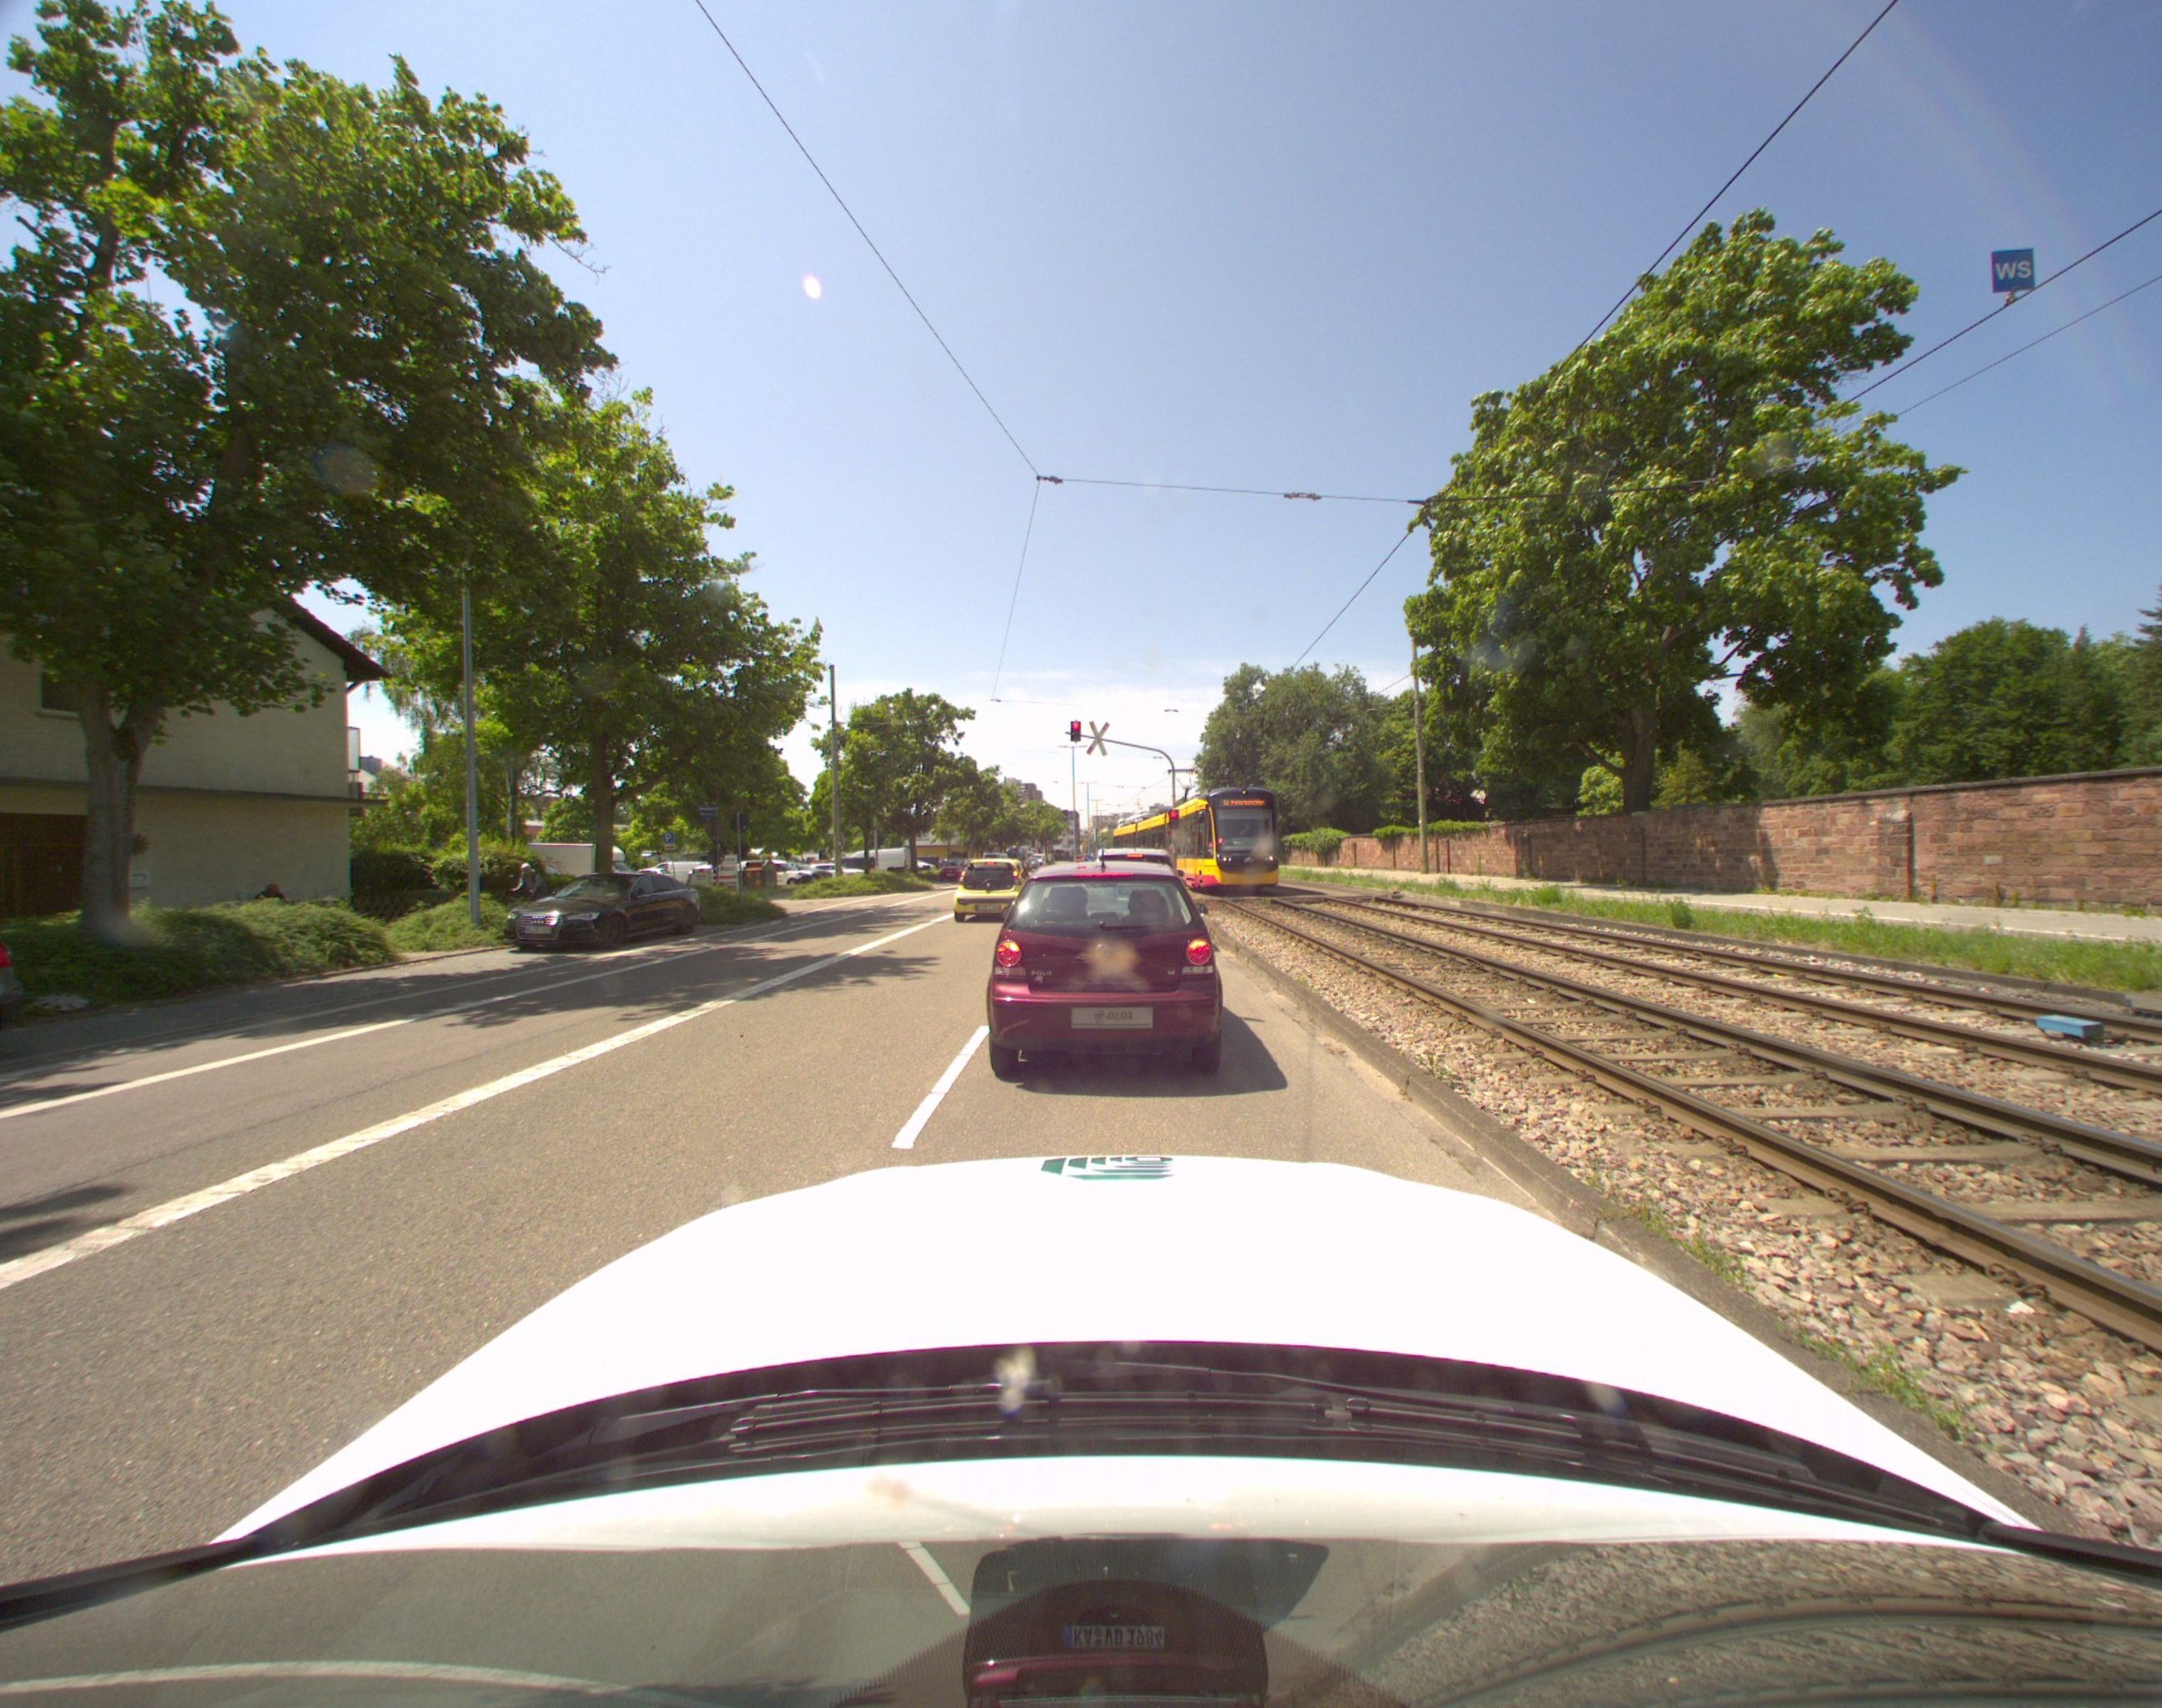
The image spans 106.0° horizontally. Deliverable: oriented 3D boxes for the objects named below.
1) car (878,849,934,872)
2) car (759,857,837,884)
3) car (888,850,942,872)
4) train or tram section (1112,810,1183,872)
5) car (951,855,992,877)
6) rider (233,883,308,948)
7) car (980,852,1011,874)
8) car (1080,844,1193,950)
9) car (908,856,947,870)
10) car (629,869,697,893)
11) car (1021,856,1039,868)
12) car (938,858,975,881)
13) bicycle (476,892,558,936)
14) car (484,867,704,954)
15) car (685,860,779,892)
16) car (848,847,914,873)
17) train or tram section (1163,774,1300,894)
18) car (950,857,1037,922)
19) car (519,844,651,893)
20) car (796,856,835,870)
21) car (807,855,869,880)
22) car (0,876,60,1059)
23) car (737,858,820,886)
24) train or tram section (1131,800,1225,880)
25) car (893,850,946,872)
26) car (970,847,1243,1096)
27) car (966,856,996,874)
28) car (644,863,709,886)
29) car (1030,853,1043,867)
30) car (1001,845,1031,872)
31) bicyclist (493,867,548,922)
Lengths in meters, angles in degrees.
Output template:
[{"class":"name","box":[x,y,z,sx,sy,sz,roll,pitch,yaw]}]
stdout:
[{"class":"car","box":[-17.731,0.699,82.864,5.076,2.244,2.380,1,-1,3]},{"class":"car","box":[-18.413,1.091,53.055,4.319,1.585,1.917,-2,0,8]},{"class":"car","box":[-17.372,0.732,85.329,5.076,2.244,2.380,1,-1,3]},{"class":"train or tram section","box":[4.142,-0.808,53.175,2.737,3.609,10.929,1,0,-5]},{"class":"car","box":[-8.221,0.894,61.299,1.965,1.601,4.566,0,-1,6]},{"class":"rider","box":[-17.970,1.354,18.065,0.820,1.374,0.814,-2,0,10]},{"class":"car","box":[-7.449,0.784,71.528,1.774,1.881,4.791,0,-1,5]},{"class":"car","box":[0.906,0.663,14.738,1.770,1.647,4.001,0,0,1]},{"class":"car","box":[-17.402,1.018,92.334,4.004,1.617,1.818,1,-1,3]},{"class":"car","box":[-30.420,1.964,59.326,3.982,1.653,1.812,1,-1,-7]},{"class":"car","box":[-6.361,1.054,101.772,1.606,1.441,4.006,0,-1,5]},{"class":"car","box":[-8.329,1.022,54.746,1.655,1.497,4.004,1,-1,4]},{"class":"bicycle","box":[-14.537,1.522,21.066,0.697,1.030,1.831,0,-1,5]},{"class":"car","box":[-9.863,1.061,17.004,1.812,1.476,4.450,0,0,1]},{"class":"car","box":[-19.351,1.190,45.262,4.329,1.585,1.912,-2,0,-1]},{"class":"car","box":[-17.502,0.538,71.520,5.076,2.244,2.380,1,-1,3]},{"class":"train or tram section","box":[5.196,-0.628,31.033,2.733,3.609,12.865,1,0,-1]},{"class":"car","box":[-2.042,0.796,19.919,1.684,1.411,3.516,0,0,1]},{"class":"car","box":[-31.443,0.917,51.802,6.828,2.965,2.364,1,-1,0]},{"class":"car","box":[-31.574,1.033,96.919,4.006,1.617,1.816,1,-1,0]},{"class":"car","box":[-18.180,1.013,61.089,3.973,1.746,1.998,-2,0,0]},{"class":"car","box":[-10.269,0.991,5.333,1.812,1.564,4.182,0,0,1]},{"class":"car","box":[-18.623,1.101,50.279,4.319,1.585,1.917,-2,0,7]},{"class":"train or tram section","box":[4.781,-0.662,42.613,2.736,3.609,10.932,1,0,-5]},{"class":"car","box":[-17.427,0.762,87.991,5.076,2.244,2.380,1,-1,3]},{"class":"car","box":[0.199,0.712,6.981,1.666,1.521,4.001,0,0,1]},{"class":"car","box":[-8.090,0.874,66.089,1.606,1.441,4.006,0,-1,5]},{"class":"car","box":[-30.658,1.528,61.763,3.982,1.653,1.812,1,-1,-7]},{"class":"car","box":[-5.879,0.818,107.842,1.771,1.828,3.995,1,-1,-3]},{"class":"car","box":[-6.695,0.459,84.565,2.352,2.692,5.311,1,-1,3]},{"class":"bicyclist","box":[-14.514,1.027,21.107,0.805,1.374,0.829,0,-1,5]}]
